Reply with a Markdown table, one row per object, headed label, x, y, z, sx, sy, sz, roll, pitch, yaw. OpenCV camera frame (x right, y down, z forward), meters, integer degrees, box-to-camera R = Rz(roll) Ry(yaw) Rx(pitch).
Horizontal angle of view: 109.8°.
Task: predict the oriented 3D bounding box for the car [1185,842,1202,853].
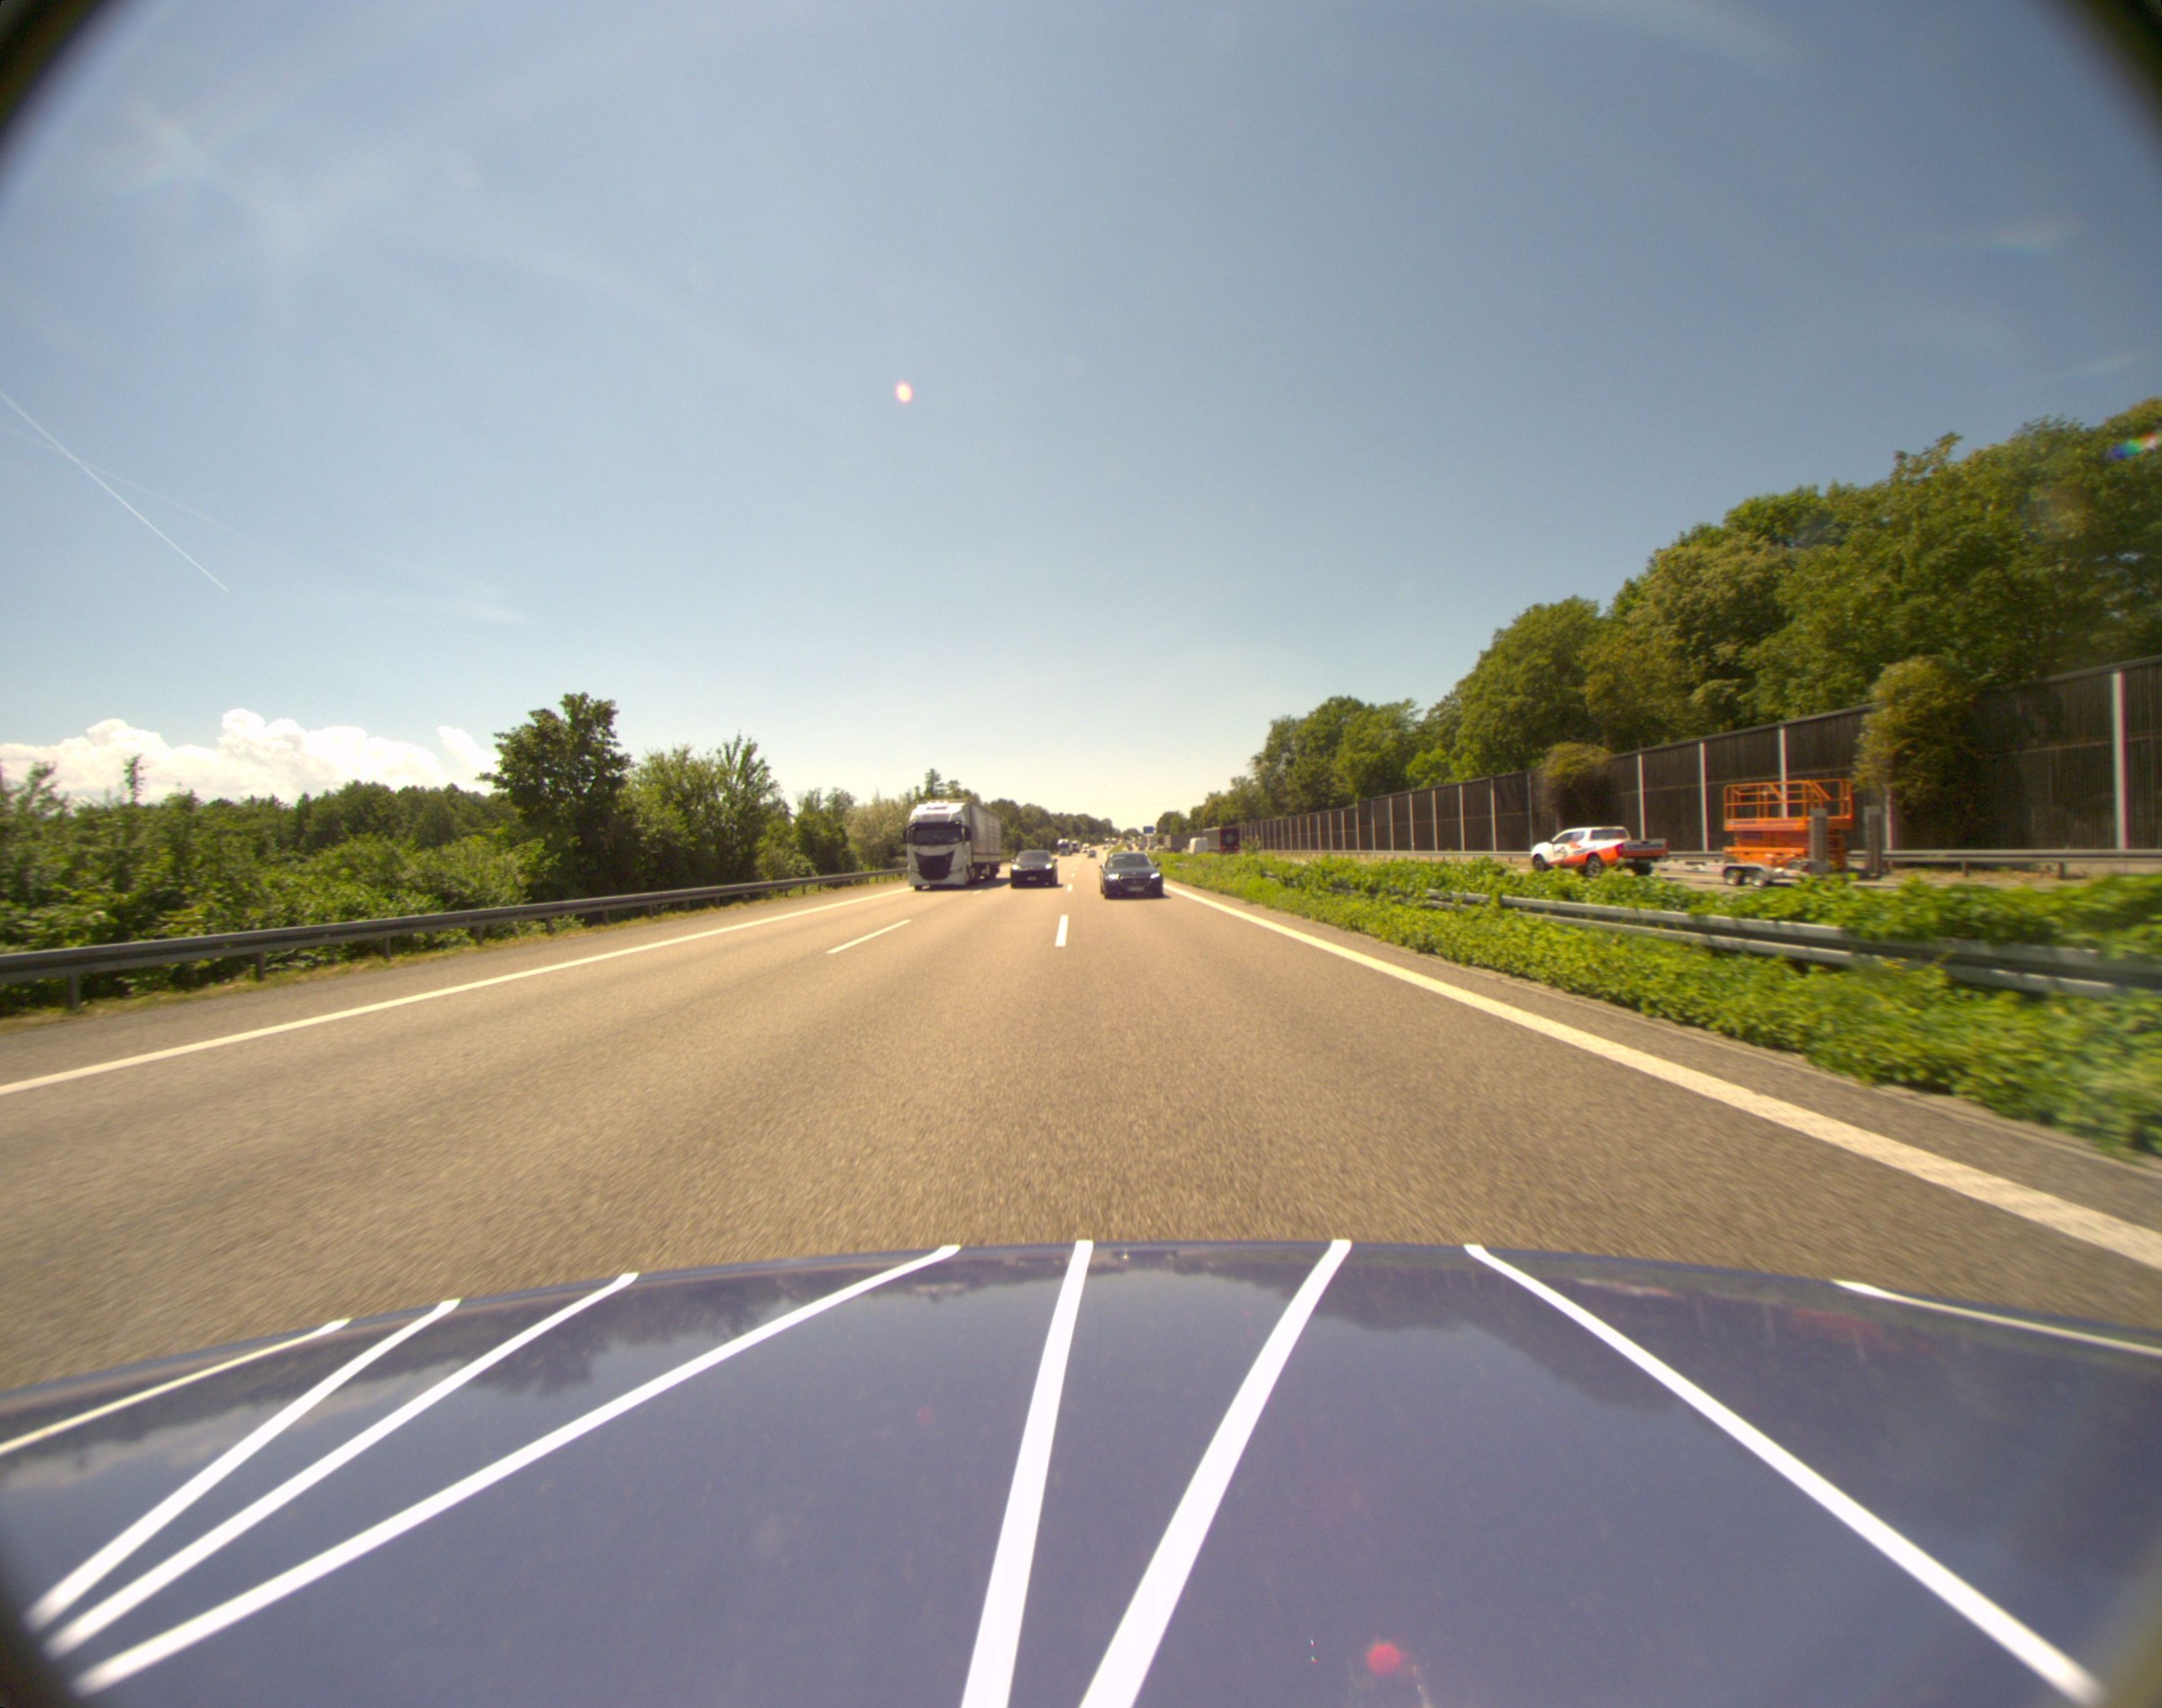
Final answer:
| label | x | y | z | sx | sy | sz | roll | pitch | yaw |
| --- | --- | --- | --- | --- | --- | --- | --- | --- | --- |
| car | 20.278 | -1.167 | 136.853 | 1.999 | 1.870 | 5.959 | -2 | 1 | -1 |

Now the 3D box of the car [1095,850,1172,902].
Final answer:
| label | x | y | z | sx | sy | sz | roll | pitch | yaw |
| --- | --- | --- | --- | --- | --- | --- | --- | --- | --- |
| car | 1.641 | 0.648 | 25.701 | 1.949 | 1.498 | 5.819 | -2 | 0 | -2 |

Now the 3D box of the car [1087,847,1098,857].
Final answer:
| label | x | y | z | sx | sy | sz | roll | pitch | yaw |
| --- | --- | --- | --- | --- | --- | --- | --- | --- | --- |
| car | 2.084 | -0.397 | 136.981 | 1.909 | 1.717 | 4.375 | -2 | 1 | 2 |

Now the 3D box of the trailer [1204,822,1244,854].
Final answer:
| label | x | y | z | sx | sy | sz | roll | pitch | yaw |
| --- | --- | --- | --- | --- | --- | --- | --- | --- | --- |
| trailer | 19.642 | -2.112 | 105.464 | 2.906 | 4.069 | 13.330 | -2 | 1 | 0 |

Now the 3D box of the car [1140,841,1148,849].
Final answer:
| label | x | y | z | sx | sy | sz | roll | pitch | yaw |
| --- | --- | --- | --- | --- | --- | --- | --- | --- | --- |
| car | 20.055 | -2.850 | 241.171 | 2.136 | 2.494 | 5.706 | -1 | 1 | 1 |

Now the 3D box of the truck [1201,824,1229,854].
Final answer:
| label | x | y | z | sx | sy | sz | roll | pitch | yaw |
| --- | --- | --- | --- | --- | --- | --- | --- | --- | --- |
| truck | 19.648 | -2.192 | 111.591 | 2.906 | 4.069 | 6.116 | -2 | 1 | 0 |

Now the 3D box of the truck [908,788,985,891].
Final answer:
| label | x | y | z | sx | sy | sz | roll | pitch | yaw |
| --- | --- | --- | --- | --- | --- | --- | --- | --- | --- |
| truck | -6.263 | -0.674 | 36.183 | 2.542 | 4.446 | 5.571 | -2 | 1 | 0 |

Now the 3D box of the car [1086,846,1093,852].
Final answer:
| label | x | y | z | sx | sy | sz | roll | pitch | yaw |
| --- | --- | --- | --- | --- | --- | --- | --- | --- | --- |
| car | 2.672 | -1.415 | 231.395 | 1.909 | 1.717 | 4.870 | -2 | 1 | 2 |

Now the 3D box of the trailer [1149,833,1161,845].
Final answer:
| label | x | y | z | sx | sy | sz | roll | pitch | yaw |
| --- | --- | --- | --- | --- | --- | --- | --- | --- | --- |
| trailer | 24.793 | -5.060 | 255.441 | 3.100 | 4.006 | 13.007 | -2 | 1 | 2 |

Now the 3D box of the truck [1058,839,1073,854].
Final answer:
| label | x | y | z | sx | sy | sz | roll | pitch | yaw |
| --- | --- | --- | --- | --- | --- | --- | --- | --- | --- |
| truck | -3.839 | -1.867 | 189.093 | 3.074 | 3.618 | 12.401 | -2 | 1 | 2 |

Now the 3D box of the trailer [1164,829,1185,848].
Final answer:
| label | x | y | z | sx | sy | sz | roll | pitch | yaw |
| --- | --- | --- | --- | --- | --- | --- | --- | --- | --- |
| trailer | 20.911 | -3.364 | 170.730 | 2.970 | 4.006 | 13.805 | -2 | 1 | 1 |

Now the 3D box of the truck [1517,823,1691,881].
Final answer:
| label | x | y | z | sx | sy | sz | roll | pitch | yaw |
| --- | --- | --- | --- | --- | --- | --- | --- | --- | --- |
| truck | 18.797 | -0.093 | 27.830 | 2.106 | 1.805 | 6.210 | -2 | 0 | 0 |

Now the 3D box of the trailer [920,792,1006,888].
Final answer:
| label | x | y | z | sx | sy | sz | roll | pitch | yaw |
| --- | --- | --- | --- | --- | --- | --- | --- | --- | --- |
| trailer | -6.241 | -0.748 | 42.877 | 2.542 | 4.446 | 14.157 | -2 | 1 | 0 |

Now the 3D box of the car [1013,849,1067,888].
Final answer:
| label | x | y | z | sx | sy | sz | roll | pitch | yaw |
| --- | --- | --- | --- | --- | --- | --- | --- | --- | --- |
| car | -1.820 | 0.588 | 35.680 | 2.049 | 1.616 | 5.771 | -2 | 0 | 1 |

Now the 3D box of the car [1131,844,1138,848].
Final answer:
| label | x | y | z | sx | sy | sz | roll | pitch | yaw |
| --- | --- | --- | --- | --- | --- | --- | --- | --- | --- |
| car | 18.142 | -2.797 | 257.332 | 1.804 | 1.439 | 3.999 | -2 | 1 | 0 |

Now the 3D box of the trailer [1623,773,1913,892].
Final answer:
| label | x | y | z | sx | sy | sz | roll | pitch | yaw |
| --- | --- | --- | --- | --- | --- | --- | --- | --- | --- |
| trailer | 18.747 | -0.532 | 21.407 | 2.248 | 2.760 | 6.508 | -2 | 1 | 0 |

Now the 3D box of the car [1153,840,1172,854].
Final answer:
| label | x | y | z | sx | sy | sz | roll | pitch | yaw |
| --- | --- | --- | --- | --- | --- | --- | --- | --- | --- |
| car | 11.528 | -0.975 | 107.736 | 2.000 | 1.710 | 5.023 | -3 | 0 | 0 |

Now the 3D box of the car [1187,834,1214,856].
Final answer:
| label | x | y | z | sx | sy | sz | roll | pitch | yaw |
| --- | --- | --- | --- | --- | --- | --- | --- | --- | --- |
| car | 15.087 | -1.136 | 96.362 | 2.170 | 2.526 | 6.788 | -3 | 0 | 0 |

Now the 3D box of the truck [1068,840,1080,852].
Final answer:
| label | x | y | z | sx | sy | sz | roll | pitch | yaw |
| --- | --- | --- | --- | --- | --- | --- | --- | --- | --- |
| truck | -2.192 | -2.695 | 241.937 | 3.074 | 3.618 | 12.401 | -2 | 1 | 2 |
